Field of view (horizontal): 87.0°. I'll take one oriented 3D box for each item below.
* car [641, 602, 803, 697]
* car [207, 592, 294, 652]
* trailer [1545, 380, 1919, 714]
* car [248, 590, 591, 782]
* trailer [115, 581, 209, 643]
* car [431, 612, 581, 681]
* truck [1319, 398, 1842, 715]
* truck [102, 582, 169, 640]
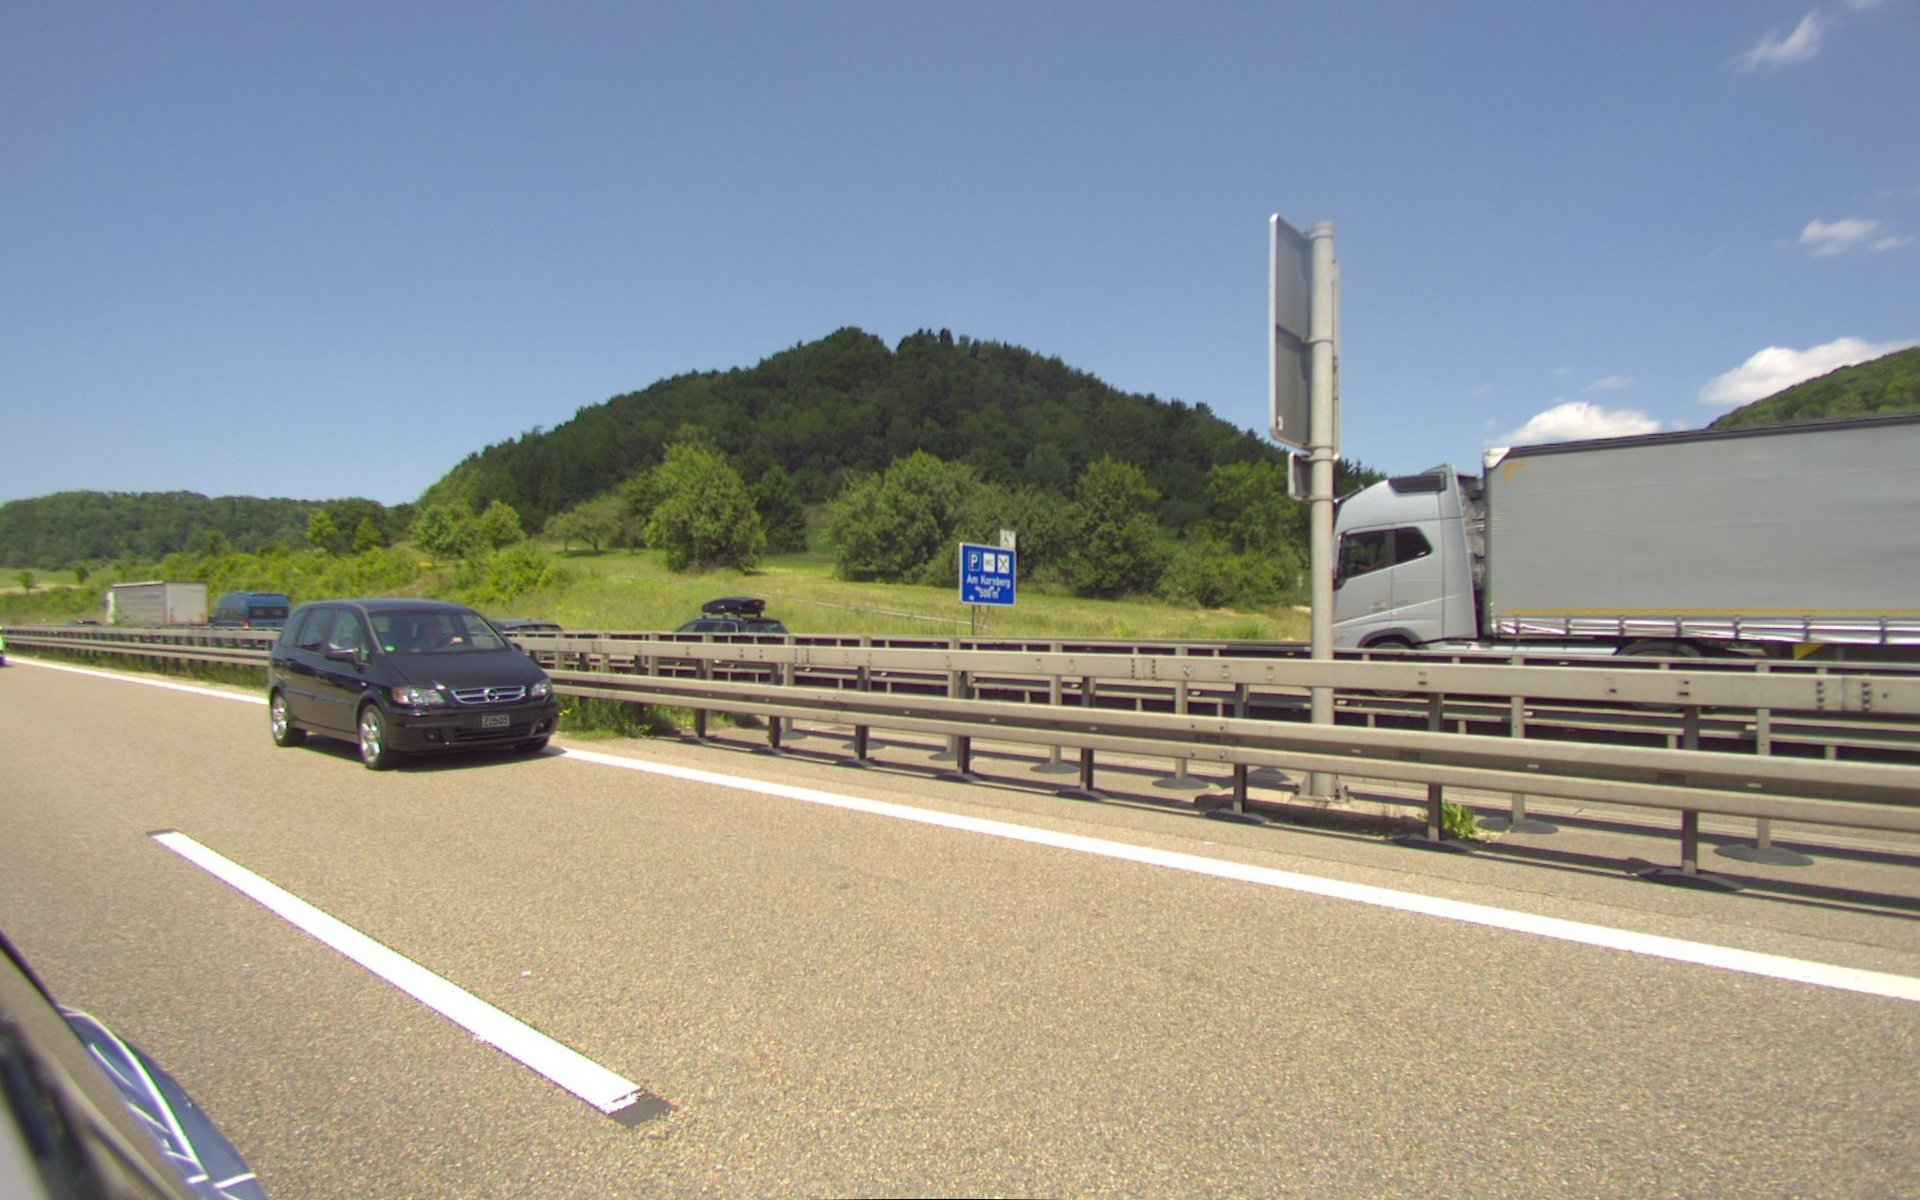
[{"bbox_3d":[-5.960,1.160,25.067,4.284,2.134,1.865,-1,-1,44],"label":"car"},{"bbox_3d":[-36.128,1.079,51.463,6.395,2.884,2.133,-1,0,41],"label":"car"},{"bbox_3d":[14.935,-0.702,12.486,12.995,4.236,3.213,-1,0,42],"label":"trailer"},{"bbox_3d":[-5.914,0.780,10.829,4.443,1.647,1.782,-1,-1,41],"label":"car"},{"bbox_3d":[-59.006,0.847,74.631,13.606,4.222,2.825,-1,0,41],"label":"trailer"},{"bbox_3d":[-10.881,1.059,24.139,4.022,1.496,1.749,-1,-1,41],"label":"car"},{"bbox_3d":[10.036,-0.552,16.878,6.951,4.179,3.244,-1,0,41],"label":"truck"},{"bbox_3d":[-64.117,0.816,78.640,7.226,4.264,2.769,-1,0,41],"label":"truck"}]
